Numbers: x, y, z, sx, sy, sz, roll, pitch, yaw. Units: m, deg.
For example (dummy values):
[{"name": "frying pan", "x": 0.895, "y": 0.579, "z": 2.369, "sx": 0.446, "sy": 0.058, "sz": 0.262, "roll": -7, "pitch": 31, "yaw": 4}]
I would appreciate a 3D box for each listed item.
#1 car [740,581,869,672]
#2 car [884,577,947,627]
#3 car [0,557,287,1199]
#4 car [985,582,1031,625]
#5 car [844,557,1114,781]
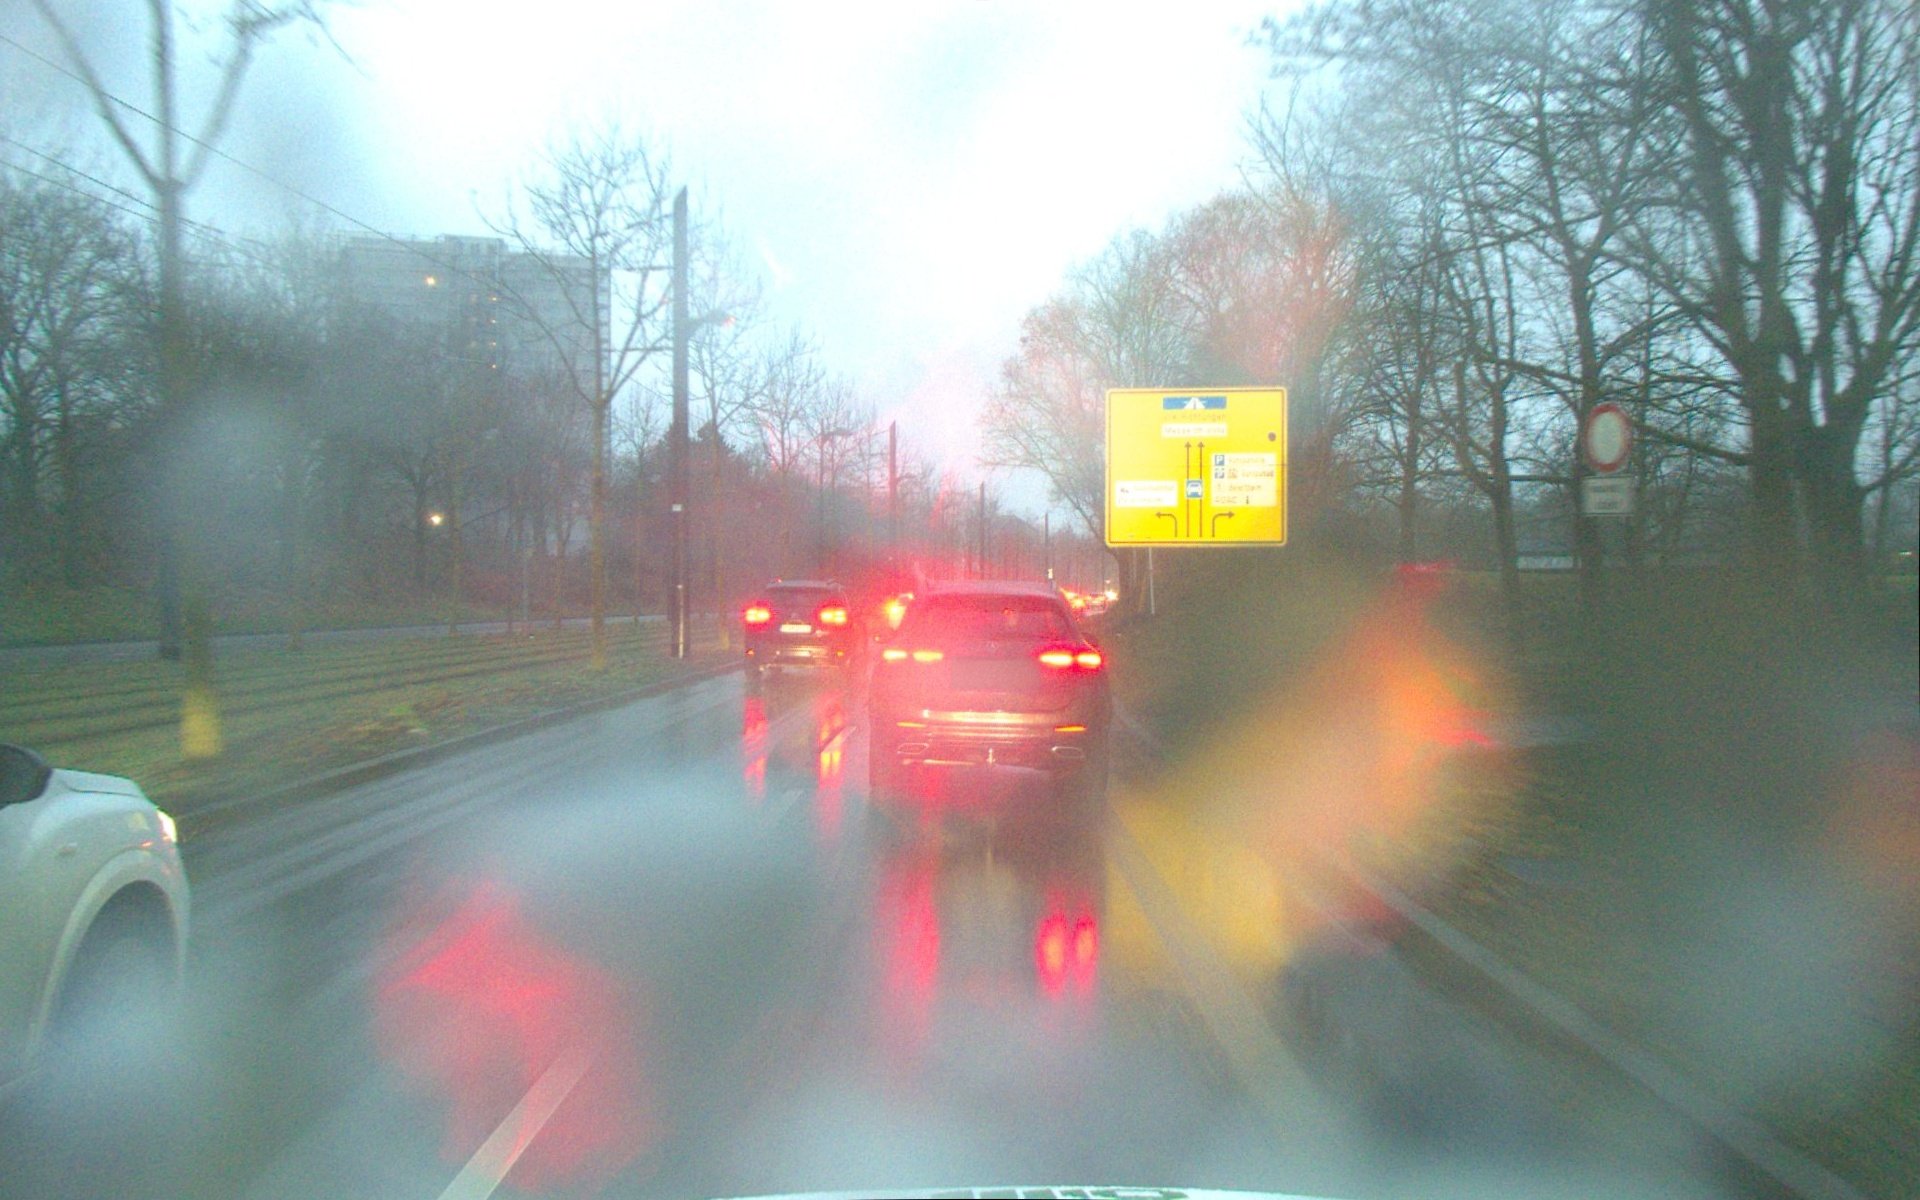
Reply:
[{"name": "car", "x": -2.655, "y": 0.409, "z": 29.061, "sx": 1.841, "sy": 1.485, "sz": 4.001, "roll": 0, "pitch": 1, "yaw": 1}, {"name": "car", "x": -1.471, "y": 0.029, "z": 55.776, "sx": 1.841, "sy": 1.621, "sz": 4.002, "roll": 0, "pitch": 1, "yaw": 2}, {"name": "car", "x": -3.020, "y": 0.680, "z": 3.206, "sx": 1.673, "sy": 1.551, "sz": 4.135, "roll": 0, "pitch": 0, "yaw": 1}, {"name": "car", "x": 1.838, "y": 0.104, "z": 62.842, "sx": 1.673, "sy": 1.585, "sz": 3.997, "roll": 0, "pitch": 0, "yaw": 2}, {"name": "car", "x": 0.179, "y": 0.481, "z": 14.097, "sx": 1.957, "sy": 1.611, "sz": 4.001, "roll": 1, "pitch": 1, "yaw": 1}]
